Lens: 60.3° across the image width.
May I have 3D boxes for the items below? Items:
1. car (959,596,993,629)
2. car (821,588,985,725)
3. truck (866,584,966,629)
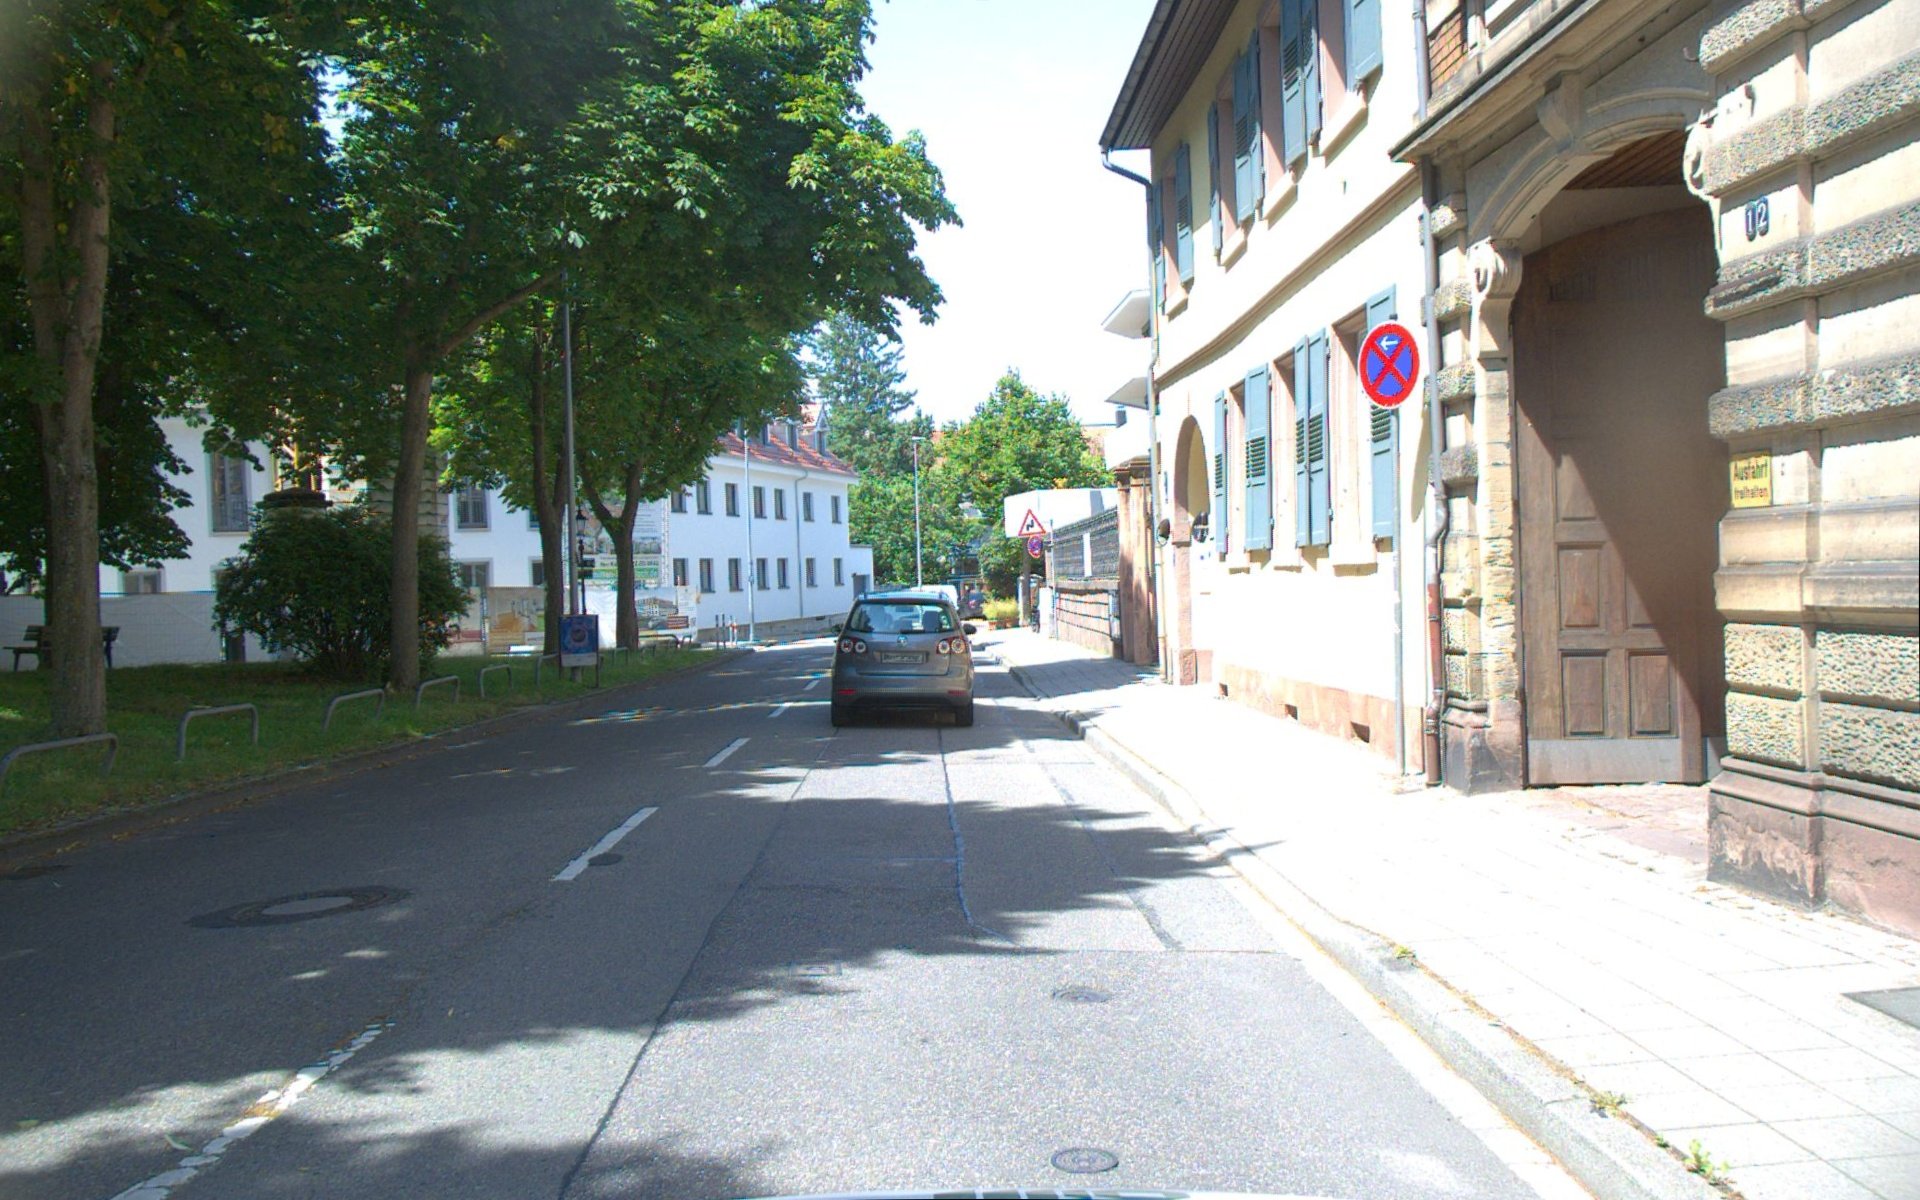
[{"bbox_3d":[0.817,0.635,86.040,1.613,1.601,3.638,-1,0,-1],"label":"car"},{"bbox_3d":[-0.620,0.657,21.021,1.864,1.560,4.244,0,0,1],"label":"car"},{"bbox_3d":[-2.185,0.322,81.351,4.704,2.049,2.142,-2,0,-9],"label":"truck"}]
